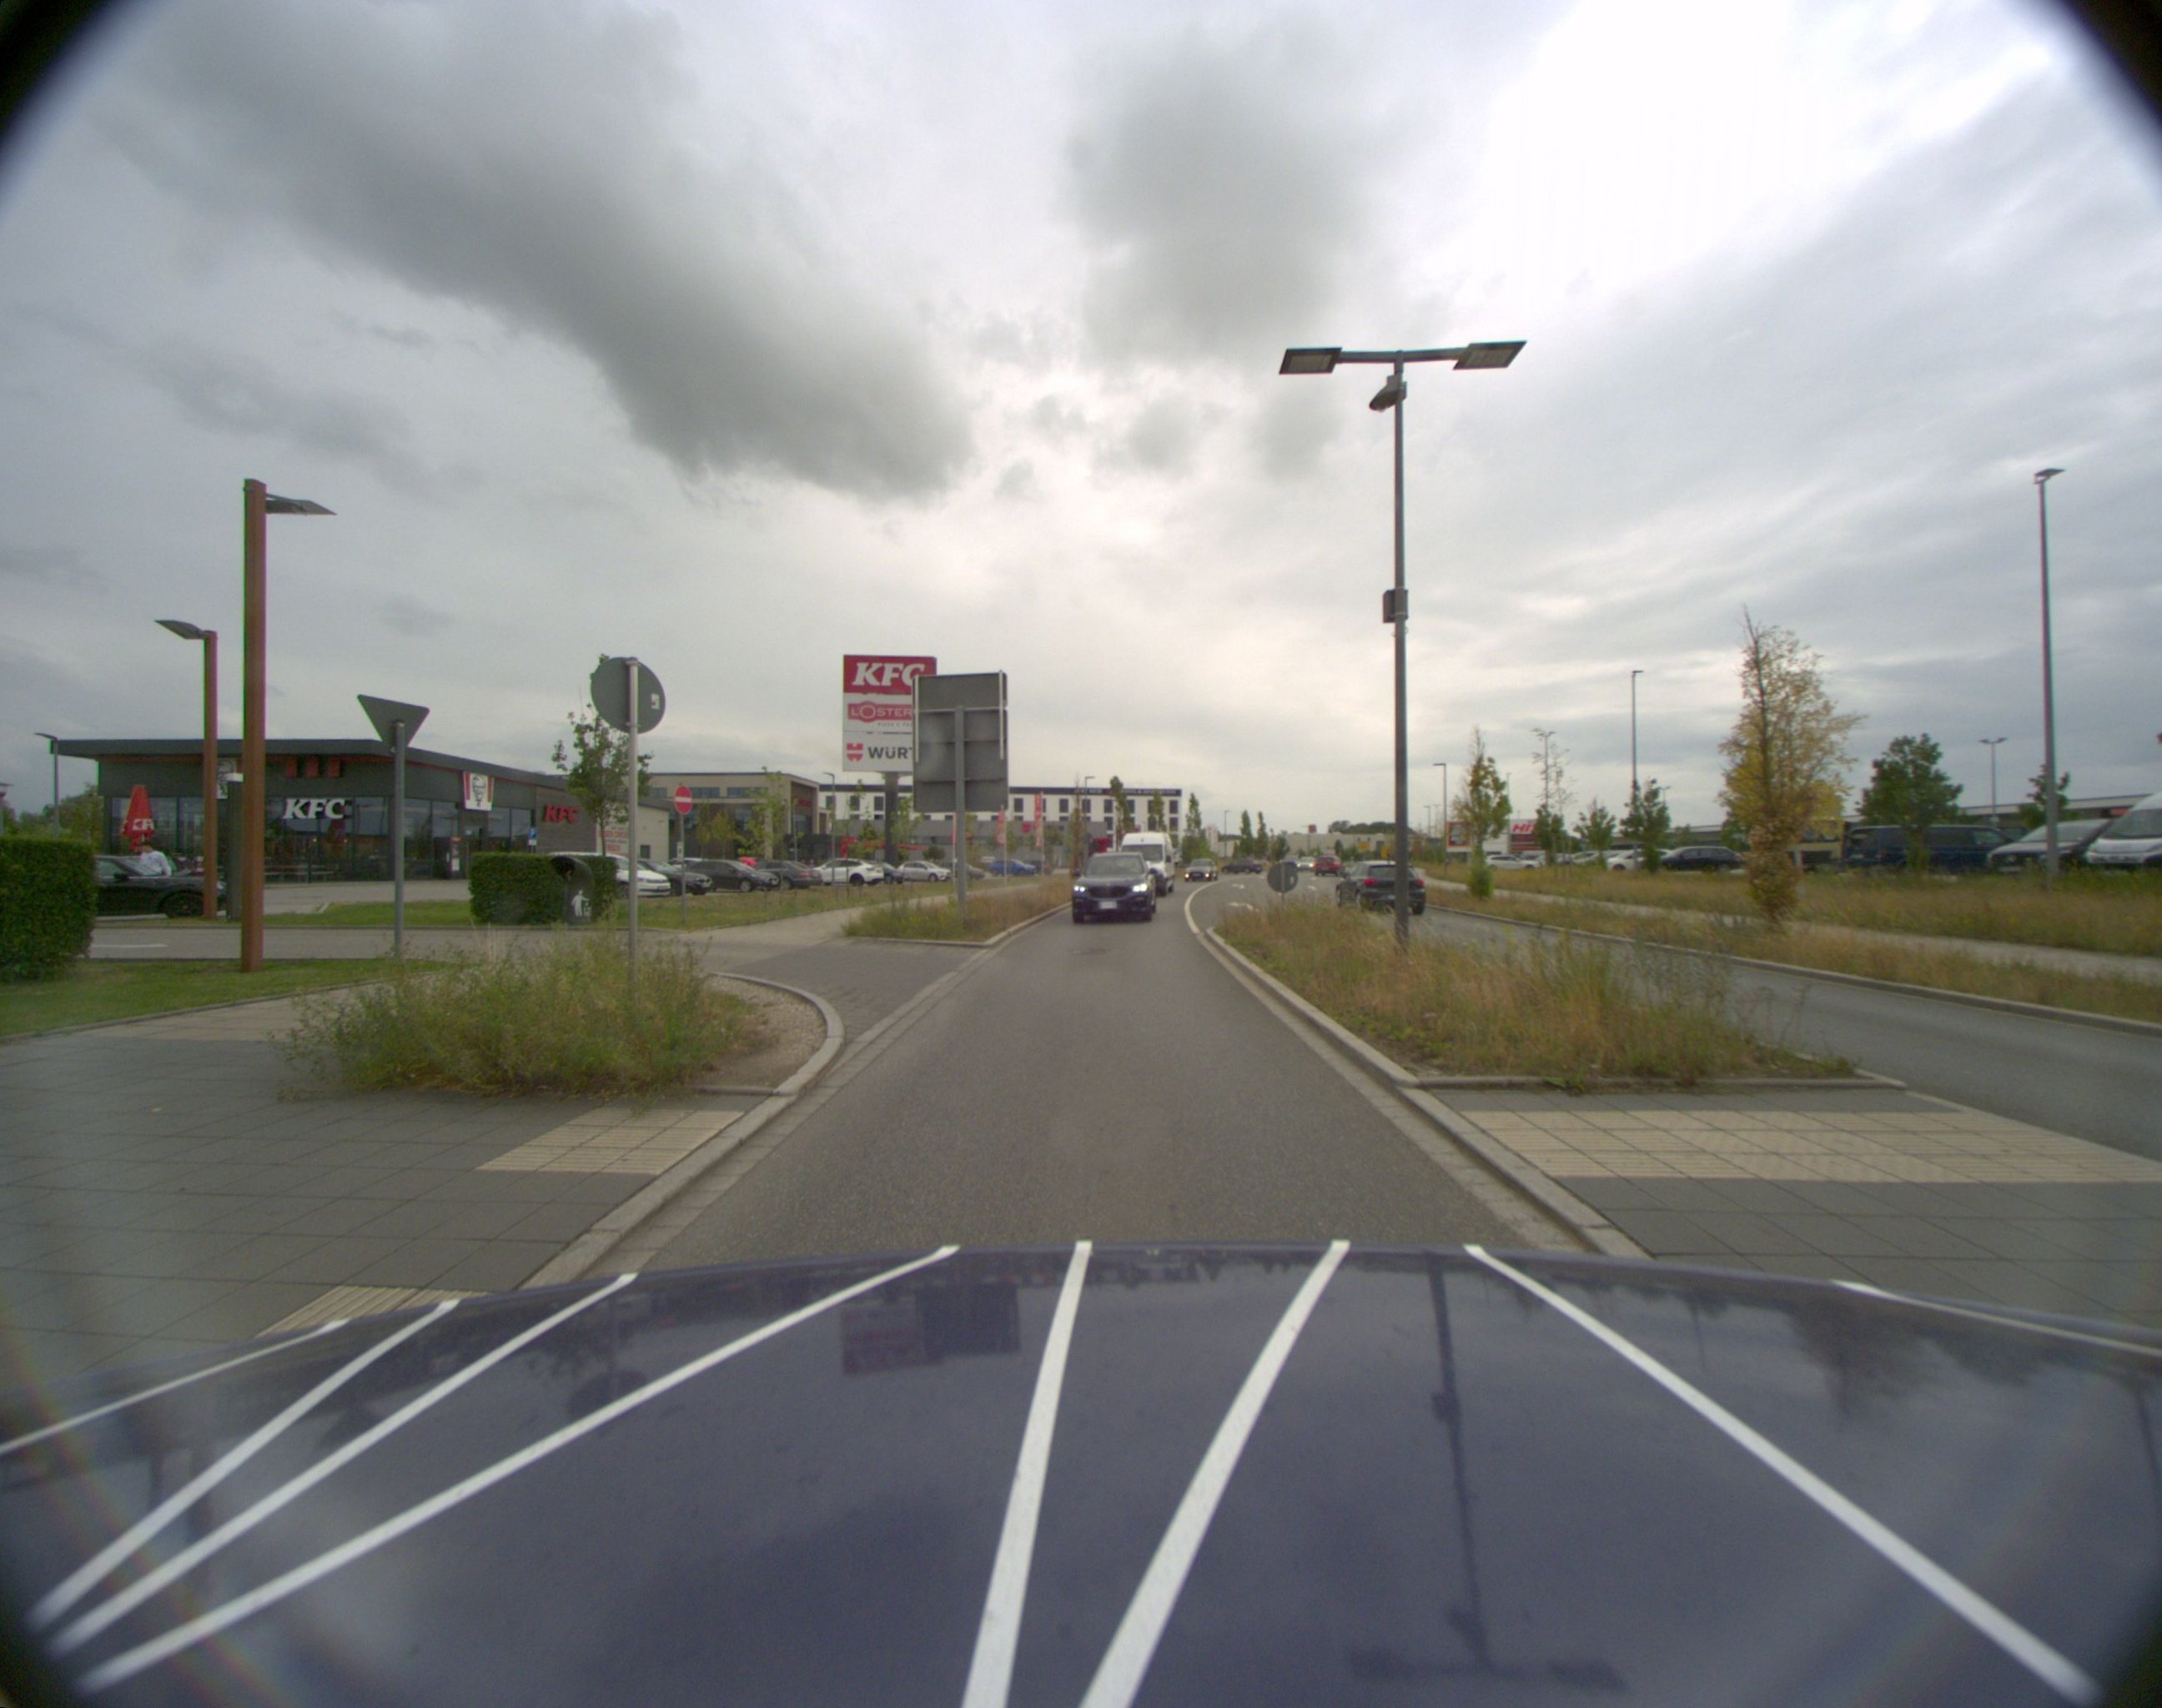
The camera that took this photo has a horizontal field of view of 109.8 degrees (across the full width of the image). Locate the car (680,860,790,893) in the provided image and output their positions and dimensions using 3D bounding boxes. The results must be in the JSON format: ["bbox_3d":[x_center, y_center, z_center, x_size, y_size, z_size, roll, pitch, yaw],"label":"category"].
[{"bbox_3d":[-15.591,1.012,34.366,4.092,1.429,1.944,0,0,7],"label":"car"}]

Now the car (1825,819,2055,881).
[{"bbox_3d":[29.221,-0.119,26.068,4.909,1.978,2.181,0,0,12],"label":"car"}]

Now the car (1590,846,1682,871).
[{"bbox_3d":[35.039,0.287,48.093,4.253,1.550,1.991,0,0,14],"label":"car"}]

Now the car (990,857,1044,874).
[{"bbox_3d":[-5.669,1.005,67.436,4.266,1.511,1.969,-1,0,22],"label":"car"}]

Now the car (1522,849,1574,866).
[{"bbox_3d":[48.085,0.376,78.343,4.304,1.645,2.084,0,0,21],"label":"car"}]

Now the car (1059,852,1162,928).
[{"bbox_3d":[0.856,0.828,18.868,1.997,1.654,4.004,-1,-1,10],"label":"car"}]

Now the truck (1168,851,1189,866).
[{"bbox_3d":[15.933,0.749,123.409,2.229,2.312,8.225,0,-1,15],"label":"truck"}]

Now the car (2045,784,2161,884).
[{"bbox_3d":[28.071,-0.502,18.497,6.082,2.293,2.211,-1,0,4],"label":"car"}]

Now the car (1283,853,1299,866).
[{"bbox_3d":[25.581,0.648,92.331,1.754,1.575,4.005,-1,0,16],"label":"car"}]

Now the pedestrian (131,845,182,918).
[{"bbox_3d":[-23.122,0.675,19.011,0.472,1.795,0.799,0,0,-22],"label":"pedestrian"}]

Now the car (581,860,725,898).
[{"bbox_3d":[-16.527,0.943,29.494,4.477,1.428,2.075,0,0,5],"label":"car"}]

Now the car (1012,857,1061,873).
[{"bbox_3d":[-4.077,1.014,69.576,3.990,1.485,1.985,-1,0,25],"label":"car"}]

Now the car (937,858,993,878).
[{"bbox_3d":[-8.875,1.098,58.166,3.762,1.485,1.893,0,0,20],"label":"car"}]

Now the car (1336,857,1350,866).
[{"bbox_3d":[47.840,1.325,138.653,1.995,1.627,4.710,2,1,23],"label":"car"}]

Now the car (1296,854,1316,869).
[{"bbox_3d":[22.533,0.752,76.145,1.705,1.429,4.037,0,0,13],"label":"car"}]

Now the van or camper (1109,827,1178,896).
[{"bbox_3d":[2.727,0.323,31.877,2.262,2.601,5.702,0,0,11],"label":"van or camper"}]

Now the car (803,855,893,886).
[{"bbox_3d":[-13.517,0.944,44.178,4.568,1.635,2.091,1,0,13],"label":"car"}]

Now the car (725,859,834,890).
[{"bbox_3d":[-14.727,1.007,37.221,4.525,1.460,2.034,0,0,8],"label":"car"}]

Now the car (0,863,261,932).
[{"bbox_3d":[-20.493,0.858,16.312,1.812,1.305,3.858,0,-1,40],"label":"car"}]

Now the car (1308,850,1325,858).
[{"bbox_3d":[61.837,0.019,199.730,4.002,2.002,1.640,-1,0,-15],"label":"car"}]

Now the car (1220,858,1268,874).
[{"bbox_3d":[15.159,1.149,70.963,1.839,1.411,4.235,-1,0,-35],"label":"car"}]

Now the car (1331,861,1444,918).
[{"bbox_3d":[8.541,0.937,21.583,1.845,1.399,4.002,1,0,5],"label":"car"}]

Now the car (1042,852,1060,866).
[{"bbox_3d":[-4.134,0.694,105.371,2.000,1.975,4.633,0,0,-8],"label":"car"}]

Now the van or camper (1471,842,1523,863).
[{"bbox_3d":[57.177,-0.179,104.576,5.860,2.783,2.246,0,1,14],"label":"van or camper"}]

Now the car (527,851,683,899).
[{"bbox_3d":[-16.805,0.746,26.984,4.357,1.630,1.938,0,0,3],"label":"car"}]

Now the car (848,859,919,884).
[{"bbox_3d":[-12.775,1.113,49.214,3.991,1.476,1.943,0,1,17],"label":"car"}]

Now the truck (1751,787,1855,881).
[{"bbox_3d":[30.463,-0.741,32.355,2.851,3.520,8.447,-1,0,41],"label":"truck"}]

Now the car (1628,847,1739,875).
[{"bbox_3d":[32.379,0.376,40.971,4.237,1.426,2.000,0,0,17],"label":"car"}]

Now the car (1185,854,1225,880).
[{"bbox_3d":[8.092,0.828,49.441,1.753,1.575,4.006,-1,0,21],"label":"car"}]

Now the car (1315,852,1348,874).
[{"bbox_3d":[20.358,0.722,61.618,1.799,1.659,4.335,2,0,28],"label":"car"}]

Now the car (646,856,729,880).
[{"bbox_3d":[-26.452,0.918,51.156,4.571,1.510,2.082,1,0,4],"label":"car"}]

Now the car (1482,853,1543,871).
[{"bbox_3d":[35.343,0.654,62.343,4.182,1.460,1.889,0,0,24],"label":"car"}]

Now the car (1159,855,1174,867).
[{"bbox_3d":[12.097,0.953,107.027,1.765,1.676,4.416,0,0,11],"label":"car"}]

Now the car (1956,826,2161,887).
[{"bbox_3d":[28.496,0.061,21.579,4.913,1.607,1.995,0,0,2],"label":"car"}]

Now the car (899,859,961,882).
[{"bbox_3d":[-10.657,1.137,53.685,3.865,1.473,1.905,1,0,18],"label":"car"}]

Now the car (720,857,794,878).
[{"bbox_3d":[-23.726,0.975,55.819,4.572,1.510,1.978,1,0,2],"label":"car"}]
